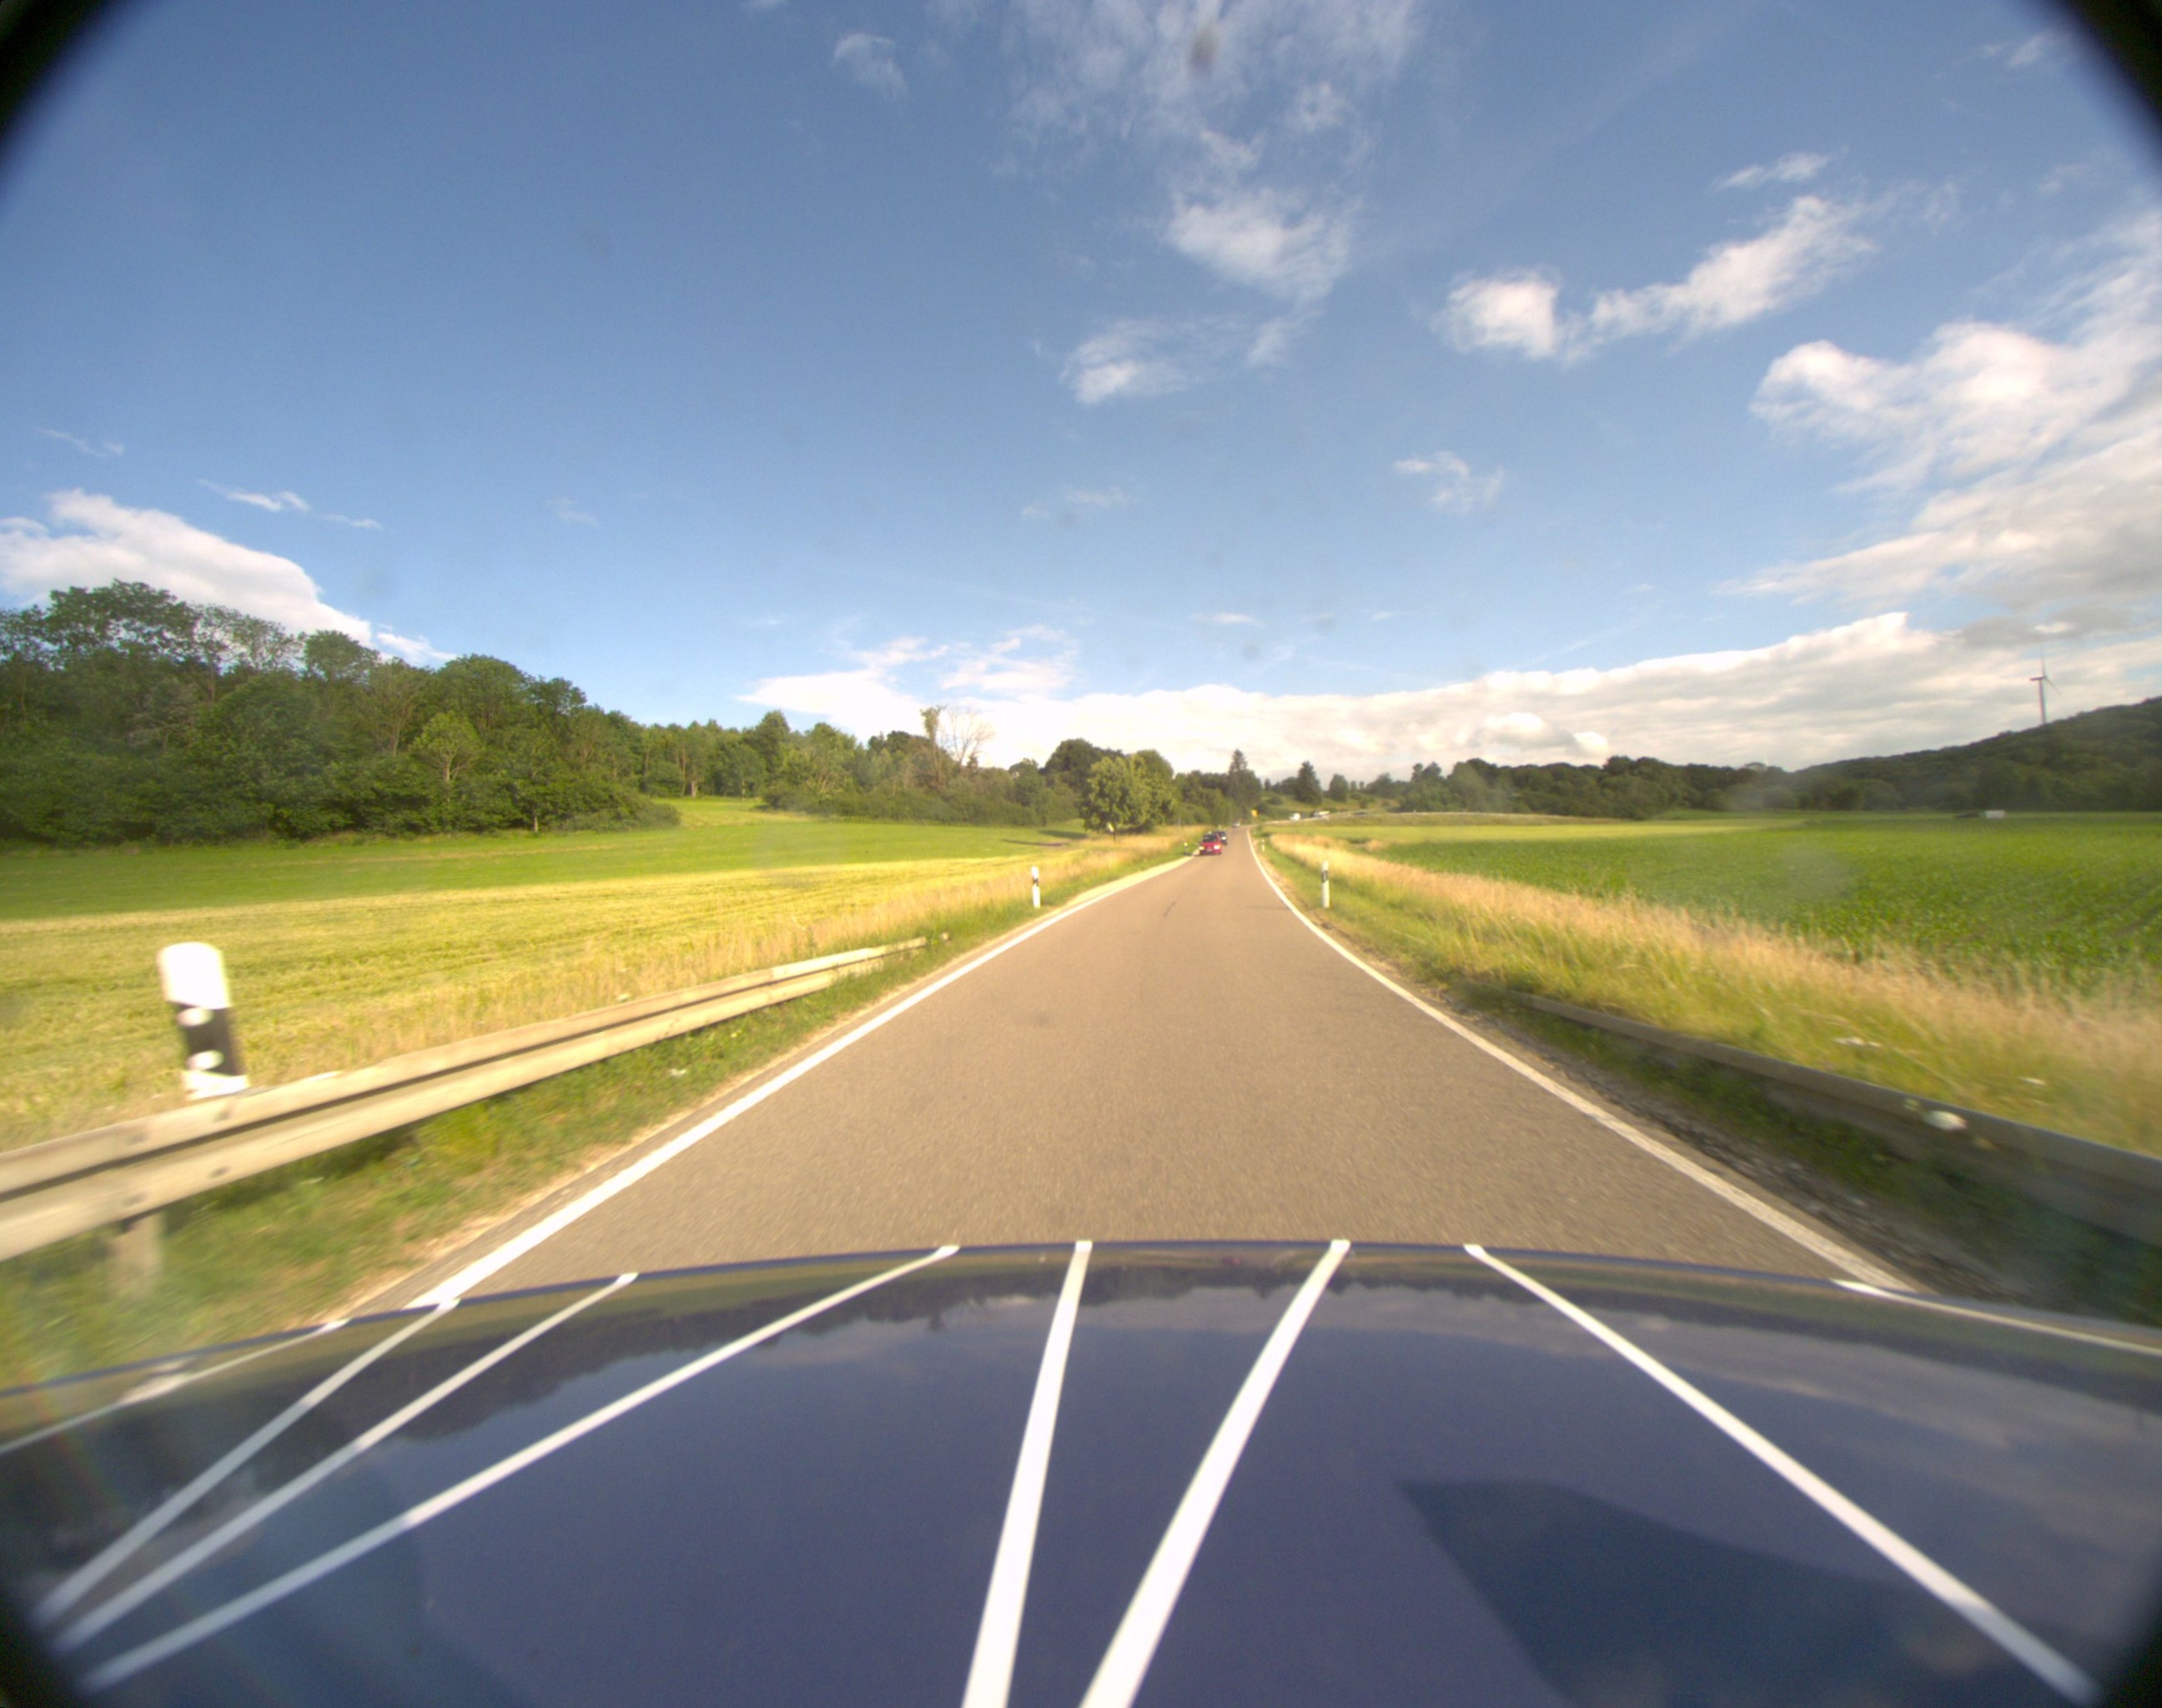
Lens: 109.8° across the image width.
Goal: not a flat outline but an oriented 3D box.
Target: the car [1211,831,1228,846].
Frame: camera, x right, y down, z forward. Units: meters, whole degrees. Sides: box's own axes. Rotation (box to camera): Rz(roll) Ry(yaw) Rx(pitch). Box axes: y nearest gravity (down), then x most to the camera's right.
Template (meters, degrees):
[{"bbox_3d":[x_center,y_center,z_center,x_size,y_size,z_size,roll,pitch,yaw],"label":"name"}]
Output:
[{"bbox_3d":[15.634,-1.749,85.797,1.819,1.602,4.003,-1,1,12],"label":"car"}]

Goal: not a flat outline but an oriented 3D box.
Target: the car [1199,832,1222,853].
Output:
[{"bbox_3d":[11.056,-0.963,64.826,1.819,1.645,4.003,-1,0,10],"label":"car"}]
